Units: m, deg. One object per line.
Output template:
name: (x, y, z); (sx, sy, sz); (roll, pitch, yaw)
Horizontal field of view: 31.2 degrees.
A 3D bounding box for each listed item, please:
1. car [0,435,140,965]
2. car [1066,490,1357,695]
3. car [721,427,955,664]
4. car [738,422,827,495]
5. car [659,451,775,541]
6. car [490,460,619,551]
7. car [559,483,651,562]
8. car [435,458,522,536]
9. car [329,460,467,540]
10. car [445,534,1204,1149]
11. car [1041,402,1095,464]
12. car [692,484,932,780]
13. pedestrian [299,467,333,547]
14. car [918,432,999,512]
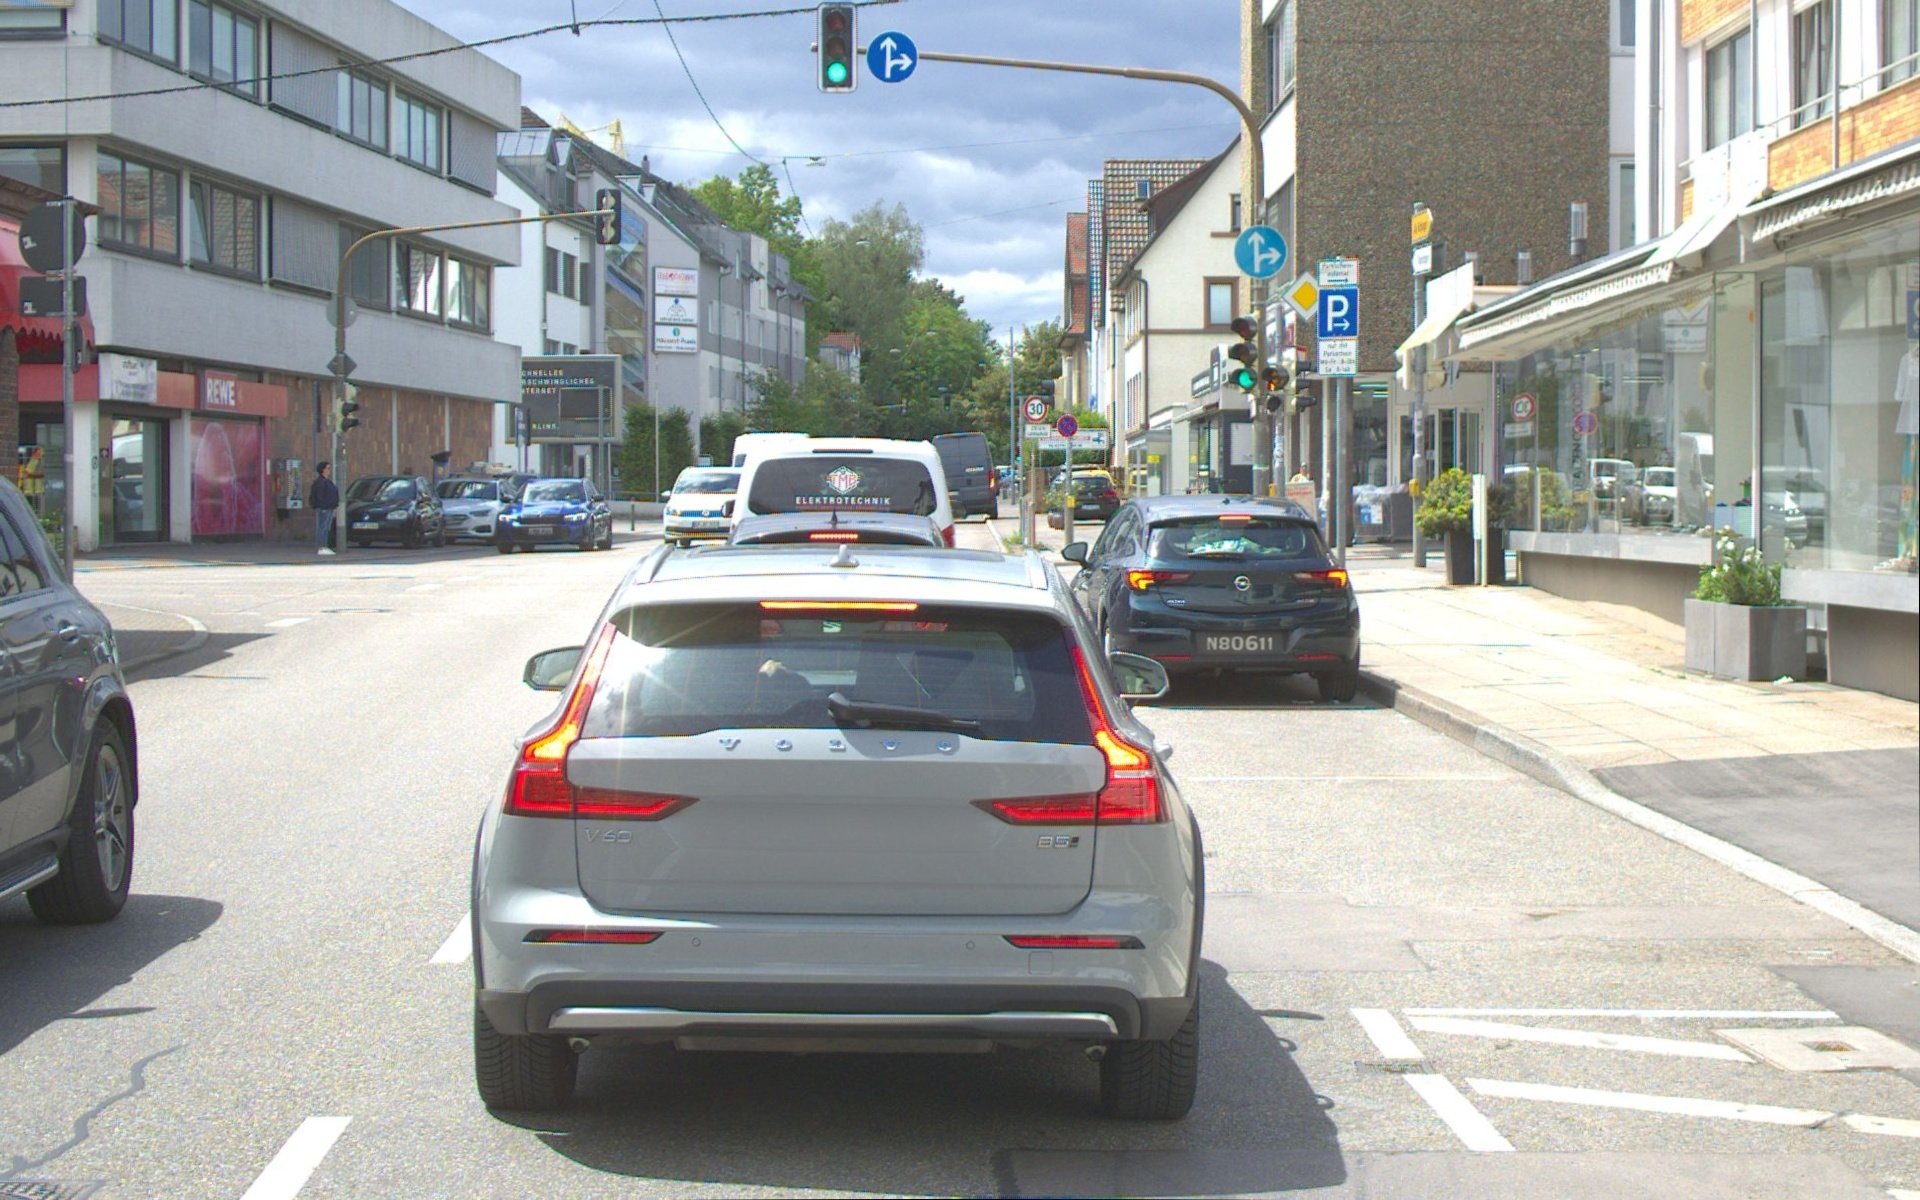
car: (-4.037, 0.325, 11.158); (1.839, 1.720, 4.352); (0, 0, -2)
car: (1.795, -0.114, 25.673); (1.753, 1.366, 4.001); (0, 2, -2)
car: (-0.977, -0.507, 29.207); (1.836, 1.855, 3.851); (1, 2, 0)
car: (-4.427, -3.520, 86.112); (1.873, 1.634, 4.000); (0, -1, 2)
car: (-4.881, -2.083, 69.618); (1.873, 1.634, 4.000); (2, 0, 2)
car: (-7.943, -1.836, 67.691); (1.873, 1.634, 4.000); (2, 0, 2)
car: (-9.639, -2.086, 93.549); (1.993, 2.007, 4.000); (2, 0, 1)
car: (-10.281, -2.185, 73.610); (1.384, 1.535, 3.399); (0, -1, 0)
car: (-11.043, -1.957, 67.808); (1.993, 1.393, 4.000); (2, 0, 0)
car: (-0.320, 0.549, 9.912); (1.744, 1.412, 4.000); (0, 0, 0)
car: (3.869, -5.968, 123.181); (1.802, 2.007, 4.000); (0, -1, 0)
car: (-0.809, 0.120, 19.896); (1.273, 1.522, 3.051); (0, 3, -1)
pedestrian: (-11.496, -1.657, 61.377); (0.514, 1.431, 0.490); (0, 1, -19)
car: (-0.058, -4.042, 109.417); (2.436, 2.310, 5.326); (2, 0, 0)
